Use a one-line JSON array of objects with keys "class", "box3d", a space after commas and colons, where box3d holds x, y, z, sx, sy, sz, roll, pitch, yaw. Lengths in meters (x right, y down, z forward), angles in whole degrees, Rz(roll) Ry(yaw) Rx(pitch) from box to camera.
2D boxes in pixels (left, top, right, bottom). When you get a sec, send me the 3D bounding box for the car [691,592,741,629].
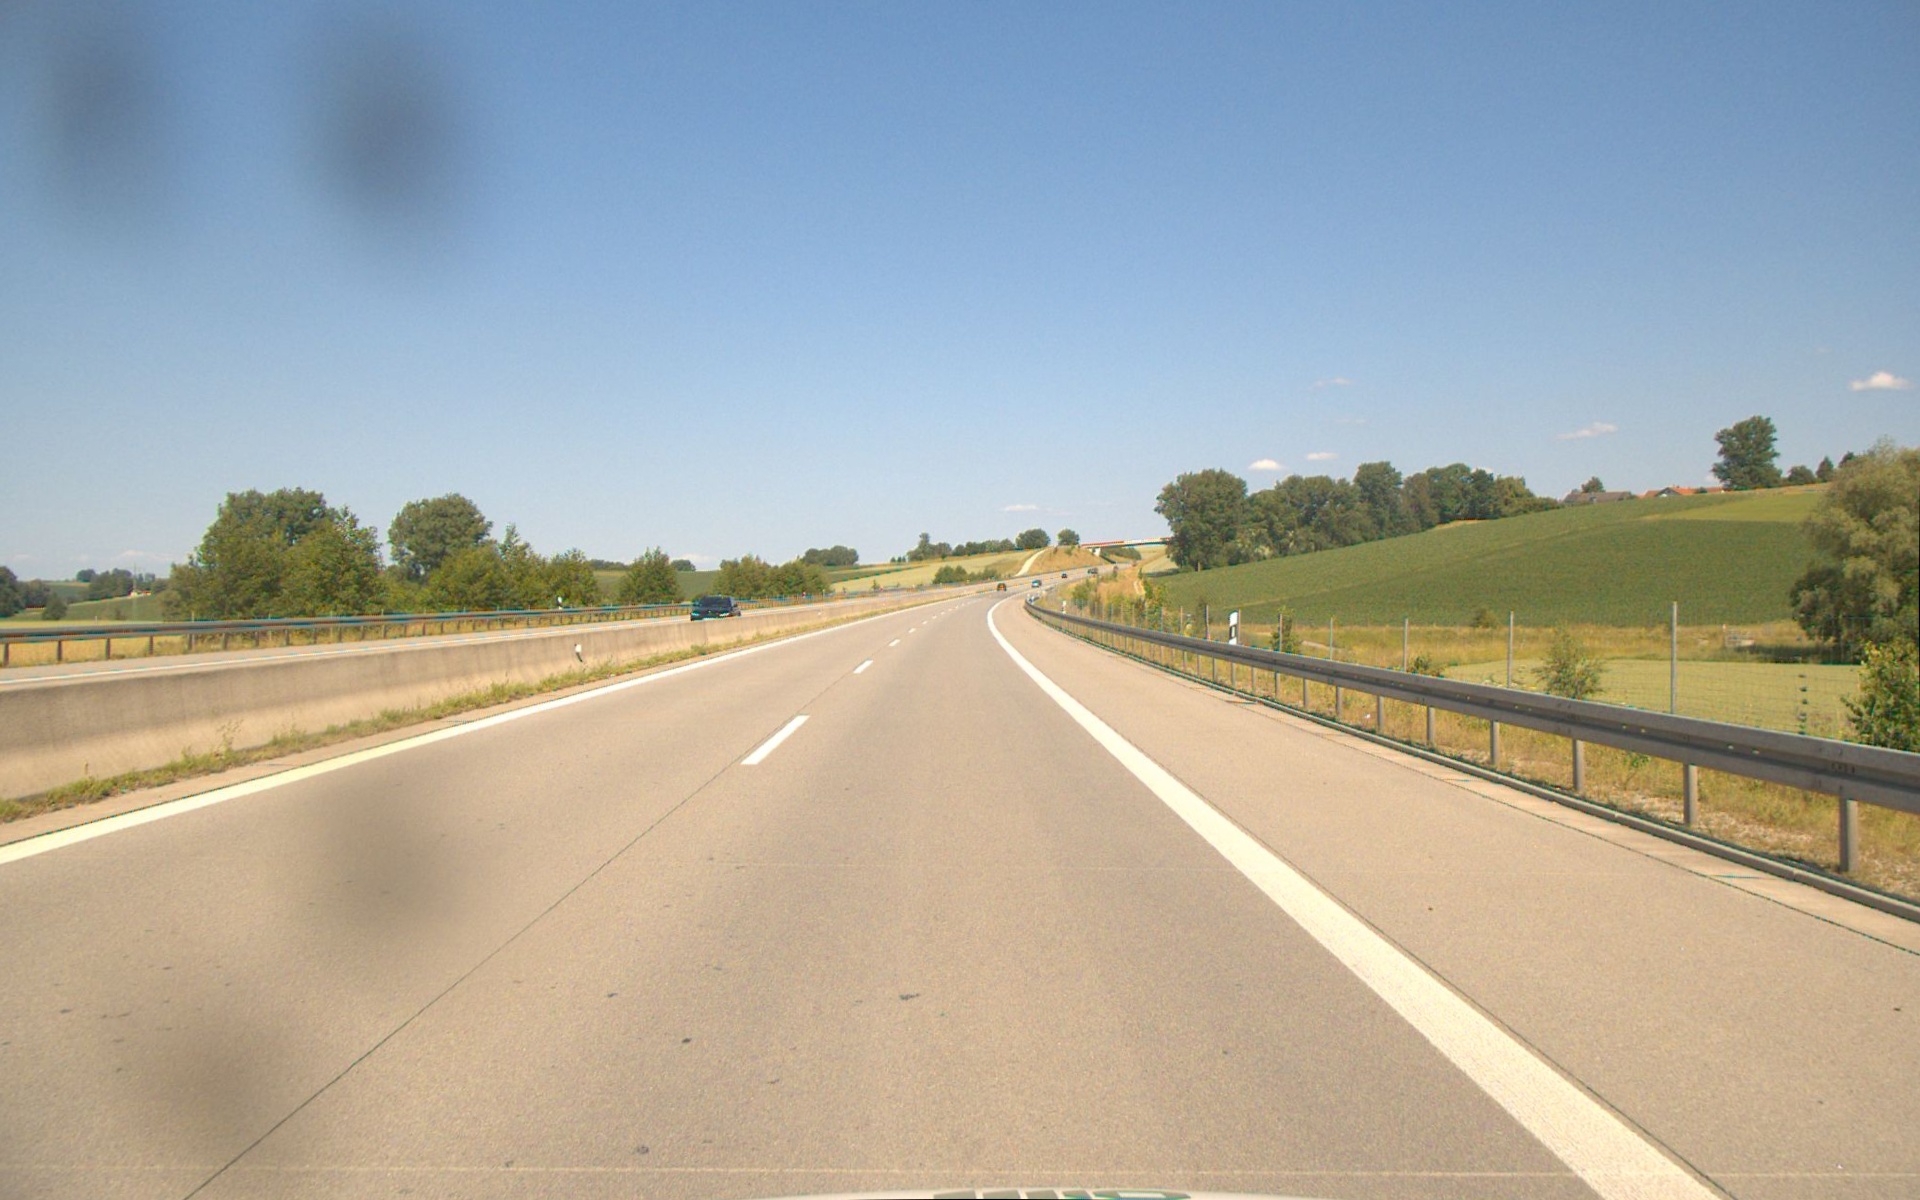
[{"class": "car", "box3d": [-11.183, 0.471, 75.976, 1.676, 1.617, 4.626, 1, 0, -1]}]
